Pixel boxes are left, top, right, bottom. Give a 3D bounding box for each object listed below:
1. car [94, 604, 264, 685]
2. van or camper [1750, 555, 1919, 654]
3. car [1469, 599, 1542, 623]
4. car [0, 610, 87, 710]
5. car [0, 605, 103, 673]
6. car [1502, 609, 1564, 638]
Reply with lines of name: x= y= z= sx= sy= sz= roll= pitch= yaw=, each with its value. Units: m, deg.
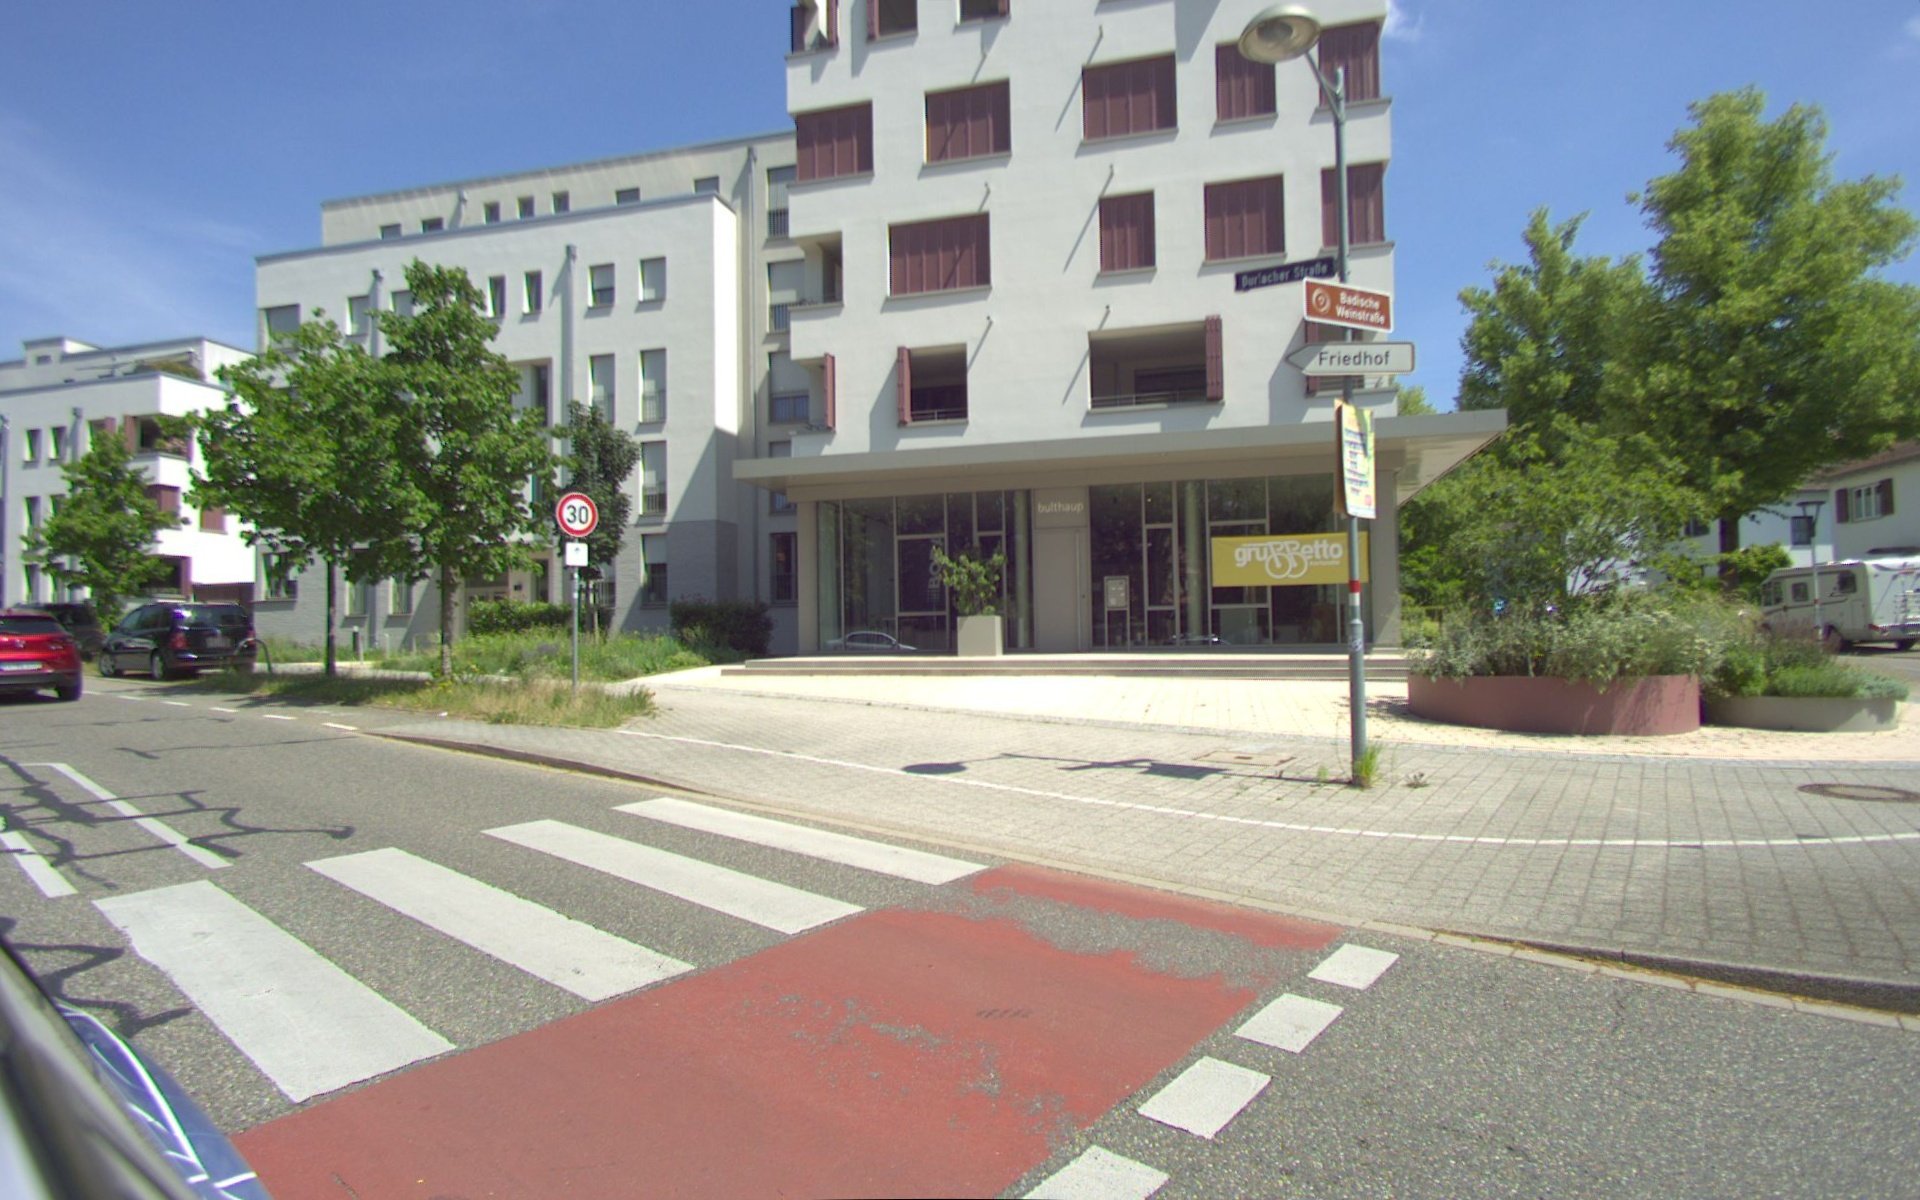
car: x=-17.161 y=0.925 z=22.199 sx=4.008 sy=1.650 sz=1.681 roll=-1 pitch=-1 yaw=32
van or camper: x=26.842 y=0.120 z=30.413 sx=2.250 sy=2.658 sz=5.865 roll=-4 pitch=-1 yaw=11
car: x=38.128 y=0.791 z=70.796 sx=4.068 sy=1.621 sz=1.813 roll=0 pitch=-1 yaw=5
car: x=-16.104 y=0.948 z=16.655 sx=3.984 sy=1.516 sz=1.735 roll=-1 pitch=-1 yaw=36
car: x=-24.541 y=0.999 z=26.913 sx=3.616 sy=1.713 sz=1.681 roll=-1 pitch=-1 yaw=32
car: x=30.984 y=1.251 z=54.872 sx=1.738 sy=1.516 sz=3.977 roll=-1 pitch=-1 yaw=12
